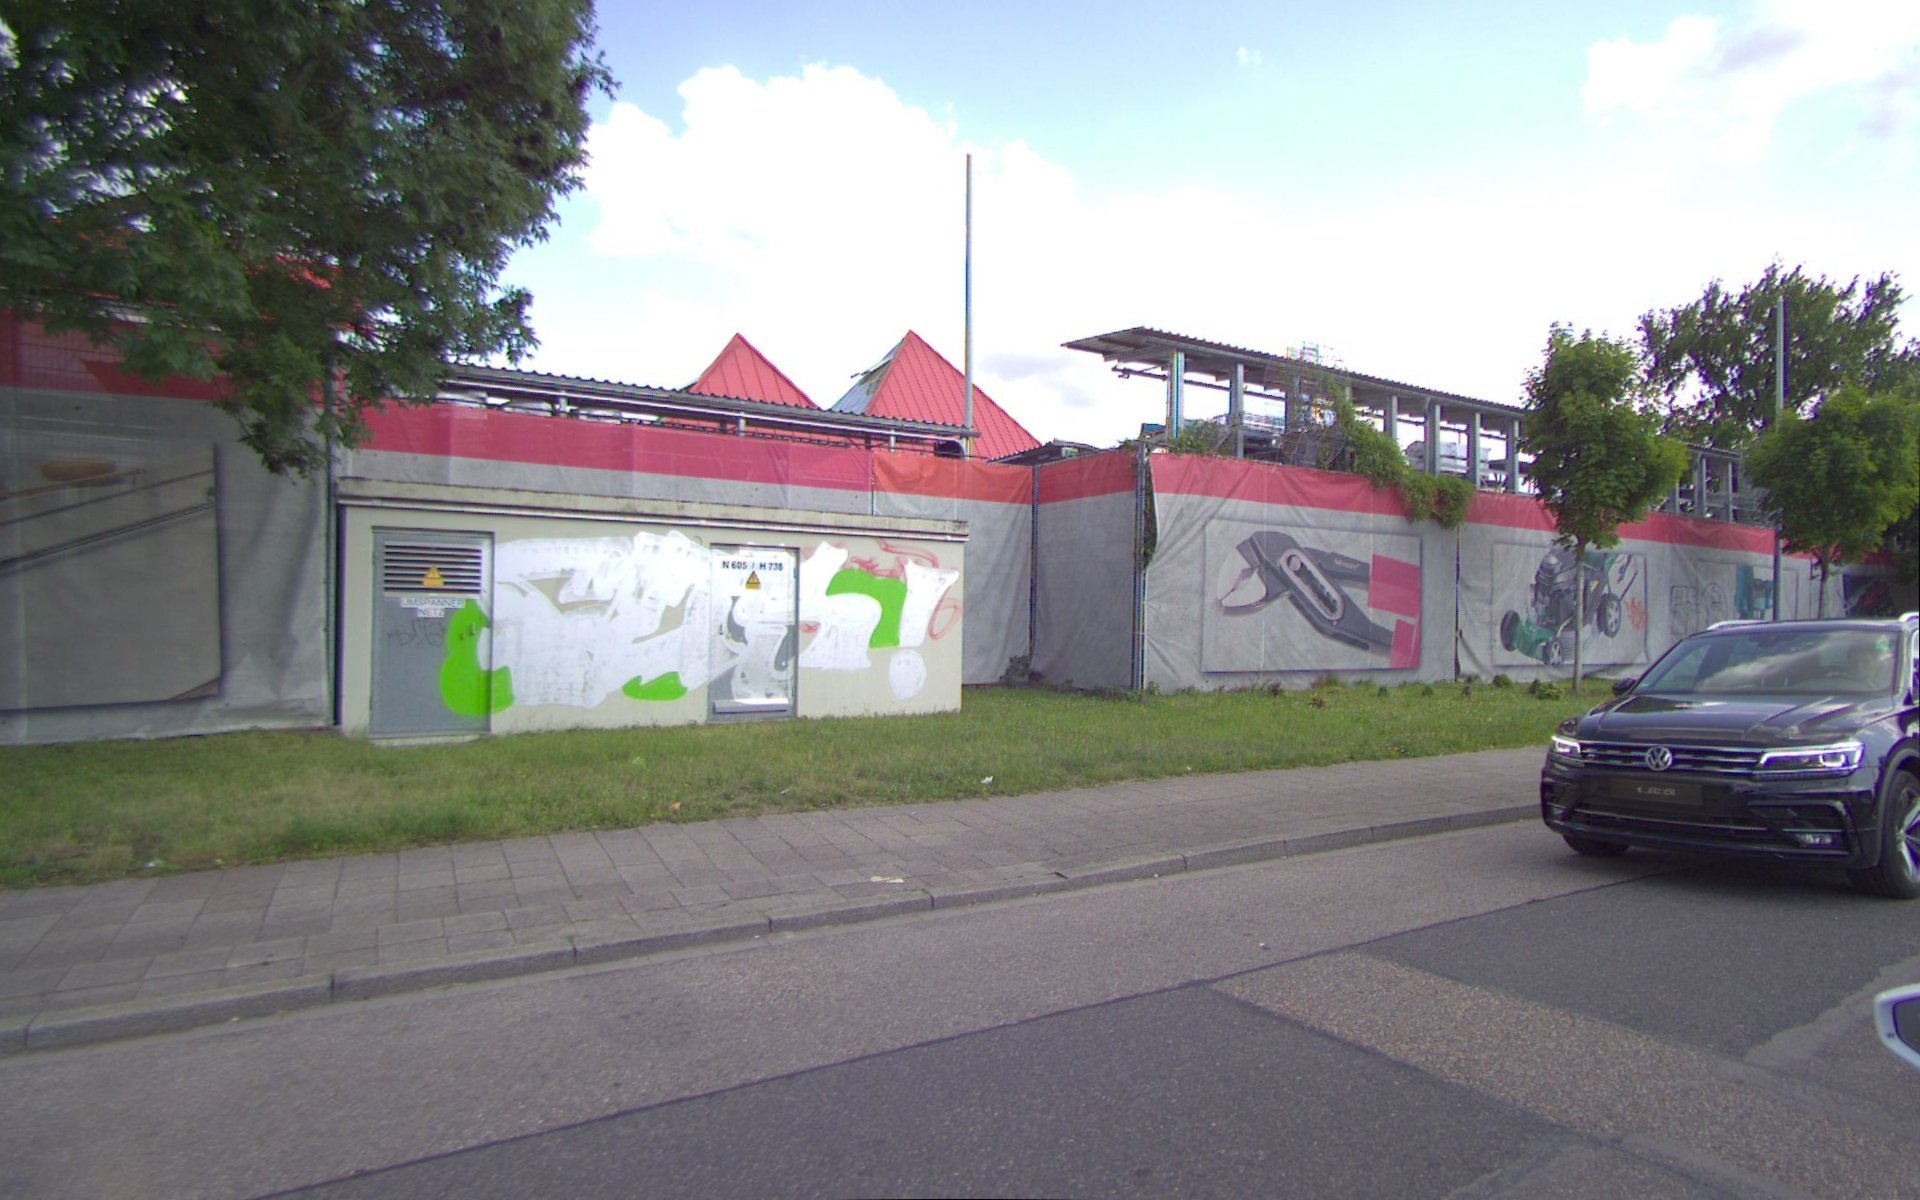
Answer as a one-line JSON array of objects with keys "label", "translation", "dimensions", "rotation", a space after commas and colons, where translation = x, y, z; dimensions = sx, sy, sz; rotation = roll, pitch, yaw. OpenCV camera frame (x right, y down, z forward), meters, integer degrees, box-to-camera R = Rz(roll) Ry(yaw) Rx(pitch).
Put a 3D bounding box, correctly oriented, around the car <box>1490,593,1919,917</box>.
[{"label": "car", "translation": [5.880, 0.891, 7.012], "dimensions": [4.243, 1.641, 1.866], "rotation": [1, -5, -30]}]
